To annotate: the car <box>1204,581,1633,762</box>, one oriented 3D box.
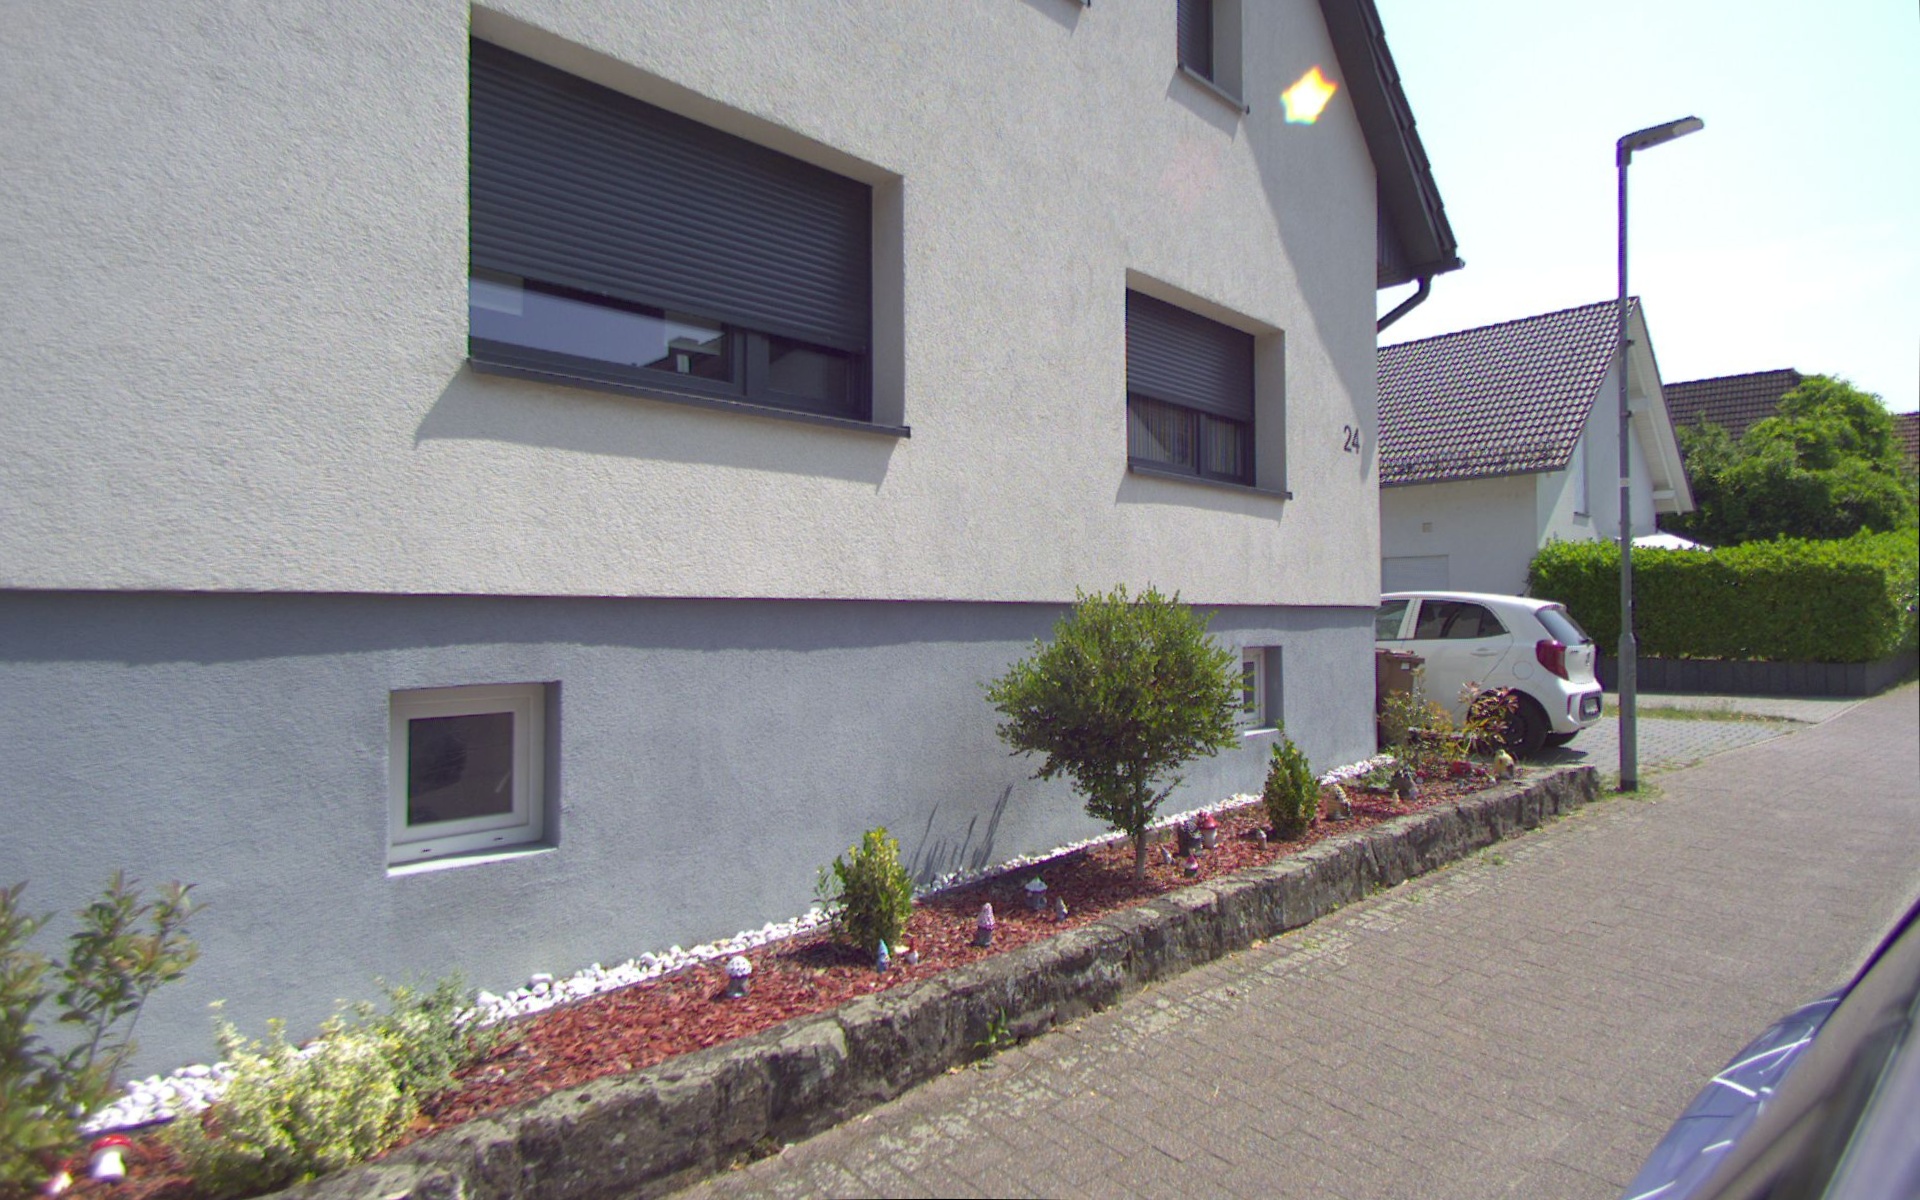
[{"bbox_3d":[4.586,0.592,10.426,3.658,1.493,1.737,1,0,44],"label":"car"}]
